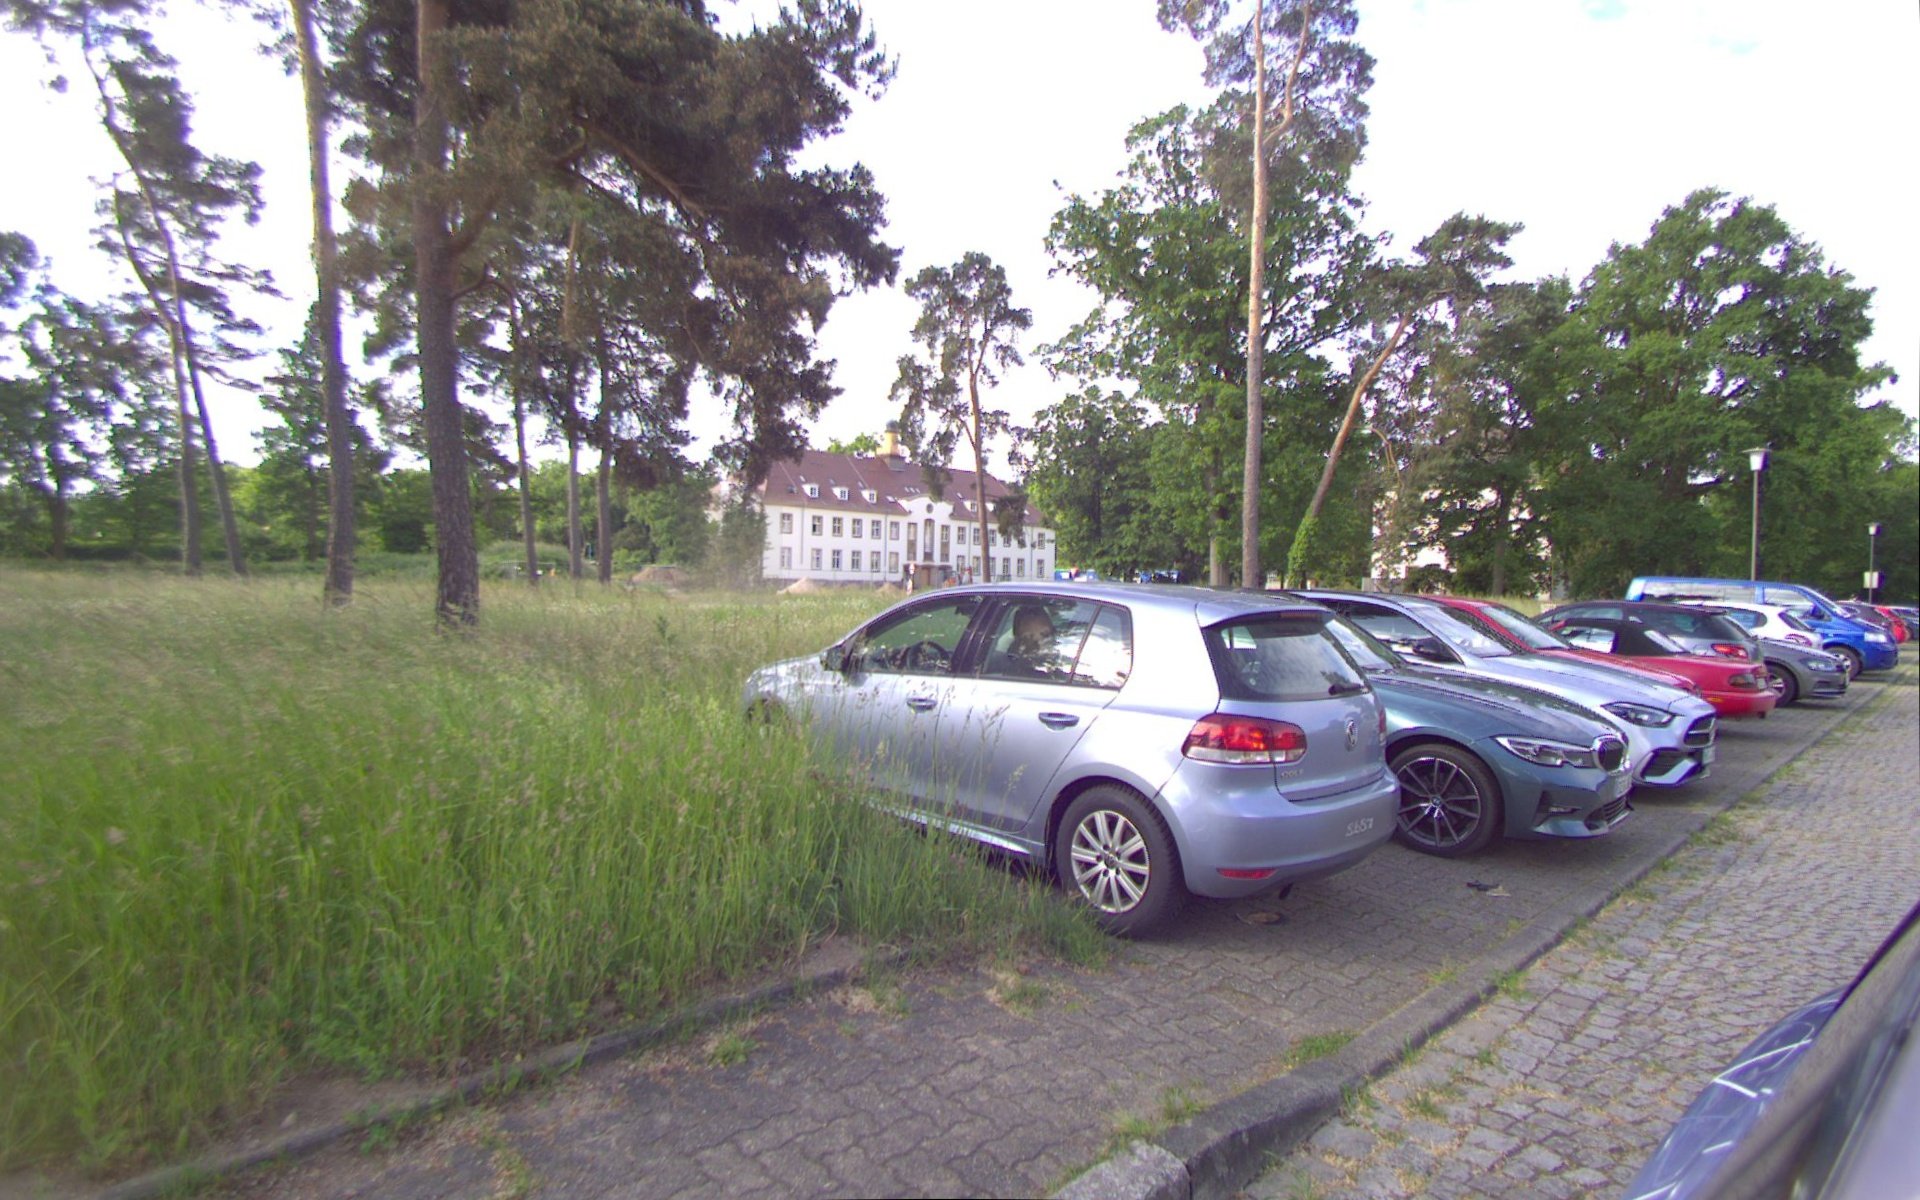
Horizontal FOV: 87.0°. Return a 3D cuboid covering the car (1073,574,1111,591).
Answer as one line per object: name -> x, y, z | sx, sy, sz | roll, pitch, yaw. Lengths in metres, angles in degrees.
car -> 13.964, -1.859, 107.016 | 3.867, 1.704, 1.847 | 0, 3, -41

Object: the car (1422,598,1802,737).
car -> 7.707, 0.702, 12.197 | 1.580, 1.303, 3.552 | 2, 1, -42

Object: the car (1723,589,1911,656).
car -> 23.418, 0.567, 27.761 | 3.828, 1.621, 1.556 | 3, 1, 44

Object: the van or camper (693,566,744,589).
van or camper -> -25.359, -2.341, 105.992 | 6.057, 2.250, 1.971 | 2, 2, 40

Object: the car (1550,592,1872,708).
car -> 11.628, 0.679, 15.857 | 1.614, 1.483, 3.779 | 0, 2, -41

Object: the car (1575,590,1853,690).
car -> 13.428, 0.632, 18.190 | 1.554, 1.517, 3.759 | 0, 2, -41

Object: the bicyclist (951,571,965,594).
bicyclist -> -0.157, -1.382, 79.366 | 0.830, 1.756, 0.667 | 0, -1, -41

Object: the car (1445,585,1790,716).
car -> 9.188, 0.600, 14.371 | 1.577, 1.522, 3.832 | 0, 2, -43

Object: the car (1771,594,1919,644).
car -> 30.623, 0.611, 35.043 | 3.828, 1.544, 1.556 | 3, 2, 44

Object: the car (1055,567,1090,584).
car -> 13.946, -3.010, 125.719 | 3.927, 2.039, 2.219 | 0, 1, -39

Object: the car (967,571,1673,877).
car -> 2.295, 0.584, 7.376 | 4.515, 1.501, 1.779 | 3, 2, 45

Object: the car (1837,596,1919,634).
car -> 41.810, 0.669, 45.106 | 1.643, 1.548, 3.838 | 0, 2, -38

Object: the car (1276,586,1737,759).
car -> 5.763, 0.623, 11.081 | 1.690, 1.441, 4.113 | 0, 2, -42

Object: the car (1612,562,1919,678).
car -> 17.294, 0.315, 21.873 | 2.025, 2.047, 4.951 | 0, 3, -42

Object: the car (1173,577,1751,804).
car -> 4.262, 0.587, 9.141 | 1.738, 1.446, 4.330 | 0, 2, -44

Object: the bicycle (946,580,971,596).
bicycle -> -0.112, -0.902, 79.432 | 1.946, 1.223, 0.638 | 0, 1, -41

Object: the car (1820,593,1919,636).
car -> 38.190, 0.594, 41.807 | 1.552, 1.638, 3.838 | 0, 2, -38

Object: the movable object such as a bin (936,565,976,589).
movable object such as a bin -> -0.449, -2.829, 124.761 | 1.992, 2.802, 5.126 | 2, 2, 41

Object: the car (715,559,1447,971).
car -> 0.388, 0.545, 5.610 | 3.844, 1.489, 1.615 | 2, 2, 45
